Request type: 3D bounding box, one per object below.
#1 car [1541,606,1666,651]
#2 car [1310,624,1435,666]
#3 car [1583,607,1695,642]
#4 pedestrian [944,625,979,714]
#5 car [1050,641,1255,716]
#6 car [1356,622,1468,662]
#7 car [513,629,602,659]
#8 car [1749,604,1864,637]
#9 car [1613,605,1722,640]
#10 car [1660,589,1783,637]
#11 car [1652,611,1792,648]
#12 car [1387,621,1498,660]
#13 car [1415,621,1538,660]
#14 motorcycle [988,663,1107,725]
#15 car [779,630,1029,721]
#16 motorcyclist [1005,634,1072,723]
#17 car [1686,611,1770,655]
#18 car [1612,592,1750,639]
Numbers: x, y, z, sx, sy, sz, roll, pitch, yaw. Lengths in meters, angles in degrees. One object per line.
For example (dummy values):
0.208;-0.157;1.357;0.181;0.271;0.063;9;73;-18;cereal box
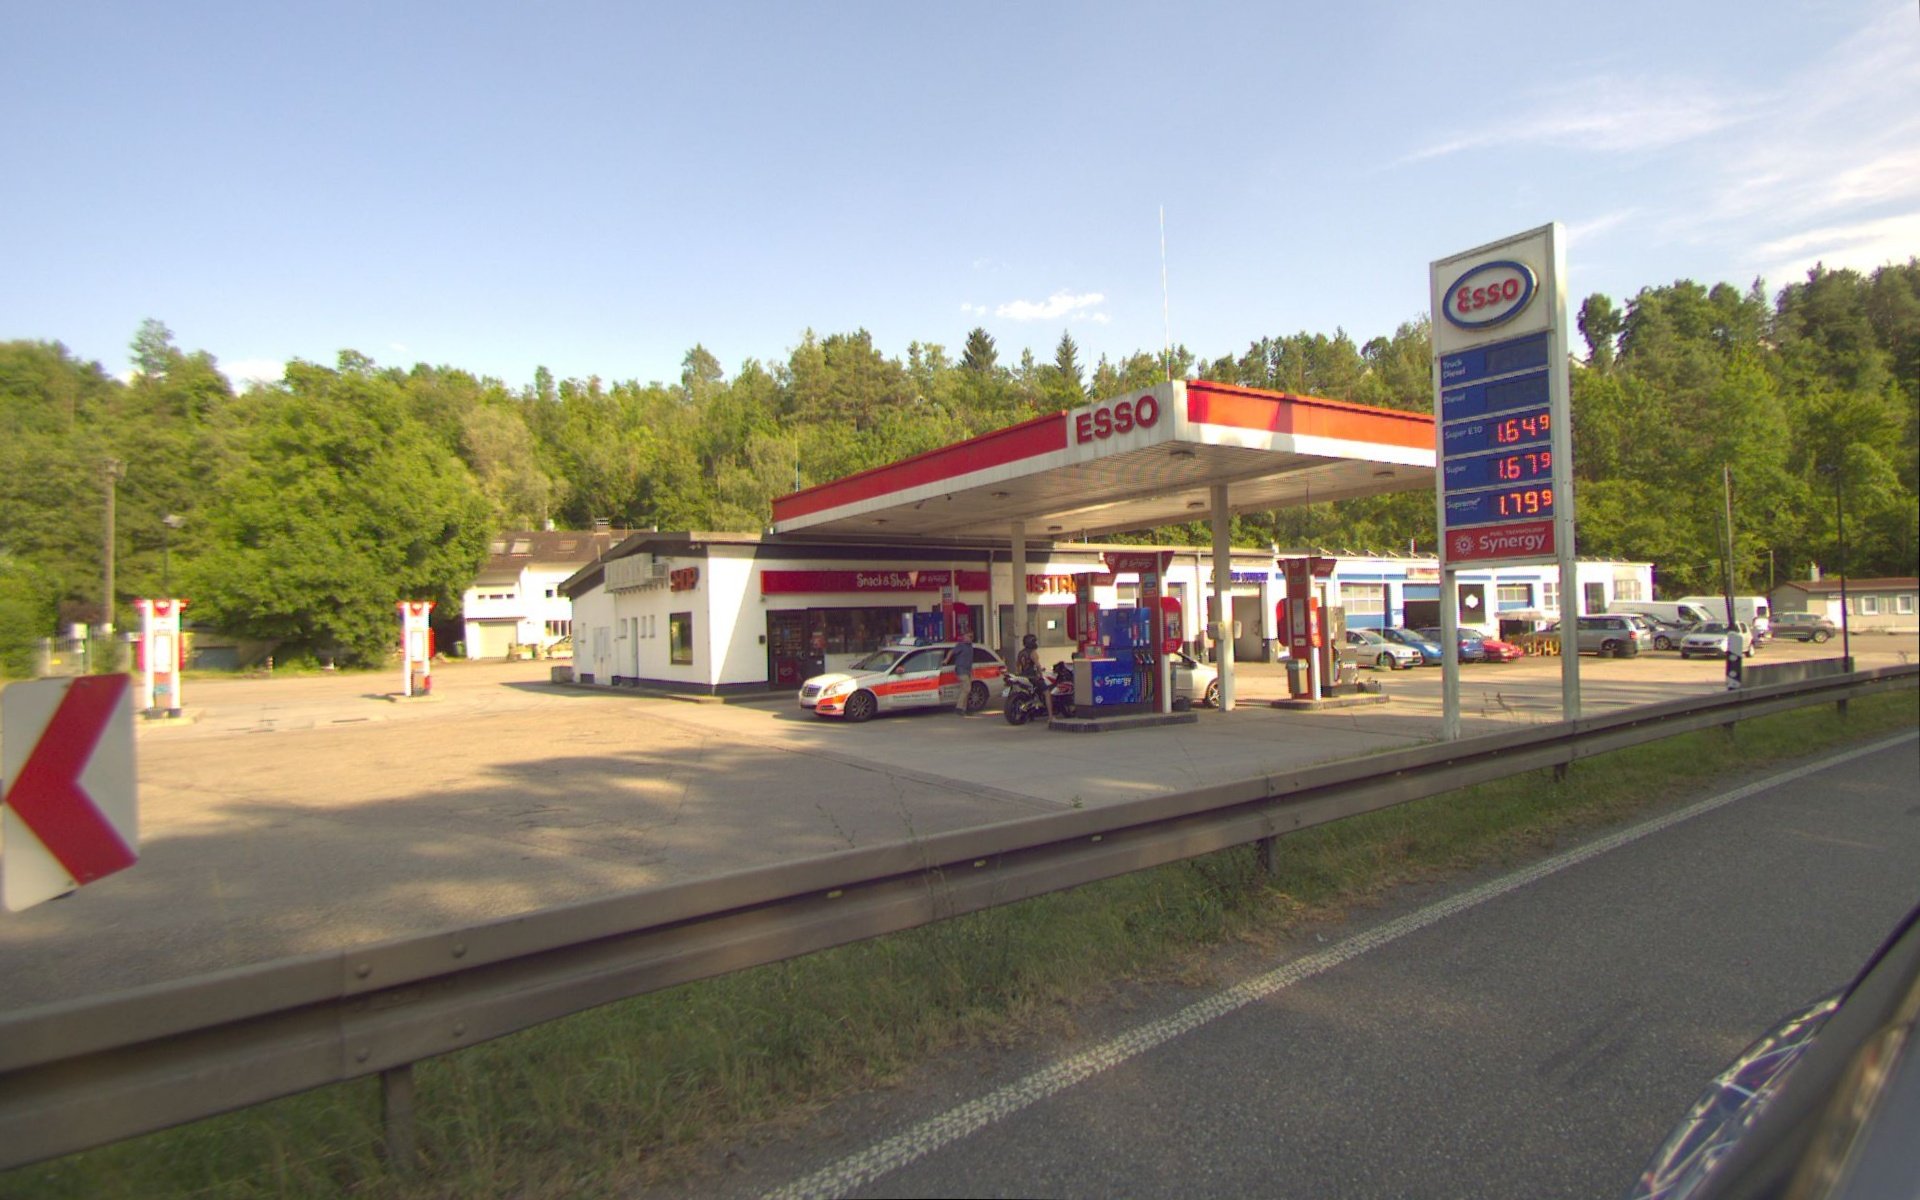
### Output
28.136;1.215;44.343;1.856;1.750;4.261;0;1;-36;car
15.188;1.617;37.404;1.744;1.372;3.967;0;0;-37;car
33.859;1.174;50.547;1.858;1.631;4.255;0;0;-33;car
0.027;1.428;21.057;0.607;1.800;0.705;-1;-2;-7;pedestrian
4.218;1.635;21.955;4.304;1.336;1.849;0;-1;-33;car
17.286;1.588;38.830;1.658;1.424;3.562;0;-1;-33;car
-27.043;2.971;68.234;5.061;1.861;2.704;-1;-2;-7;car
46.238;1.088;55.379;4.343;1.691;1.933;1;0;16;car
36.021;1.115;51.645;1.887;1.631;4.174;0;1;-33;car
41.140;0.659;54.788;2.166;2.480;4.923;0;0;-35;car
34.533;1.296;45.970;1.920;1.452;4.735;0;1;-35;car
19.064;1.576;40.105;1.700;1.464;3.556;0;-1;-33;car
20.903;1.586;41.102;1.858;1.365;4.082;0;0;-33;car
1.706;1.782;19.520;2.296;1.025;0.764;0;-1;-34;motorcycle
-1.153;1.543;22.015;5.081;1.649;2.099;0;-1;-35;car
1.502;1.473;19.403;0.910;1.625;0.861;0;-2;-34;motorcyclist
31.751;1.321;41.804;3.916;1.616;1.795;0;1;-38;car
37.751;0.753;53.140;2.251;2.303;5.494;0;0;-33;car
